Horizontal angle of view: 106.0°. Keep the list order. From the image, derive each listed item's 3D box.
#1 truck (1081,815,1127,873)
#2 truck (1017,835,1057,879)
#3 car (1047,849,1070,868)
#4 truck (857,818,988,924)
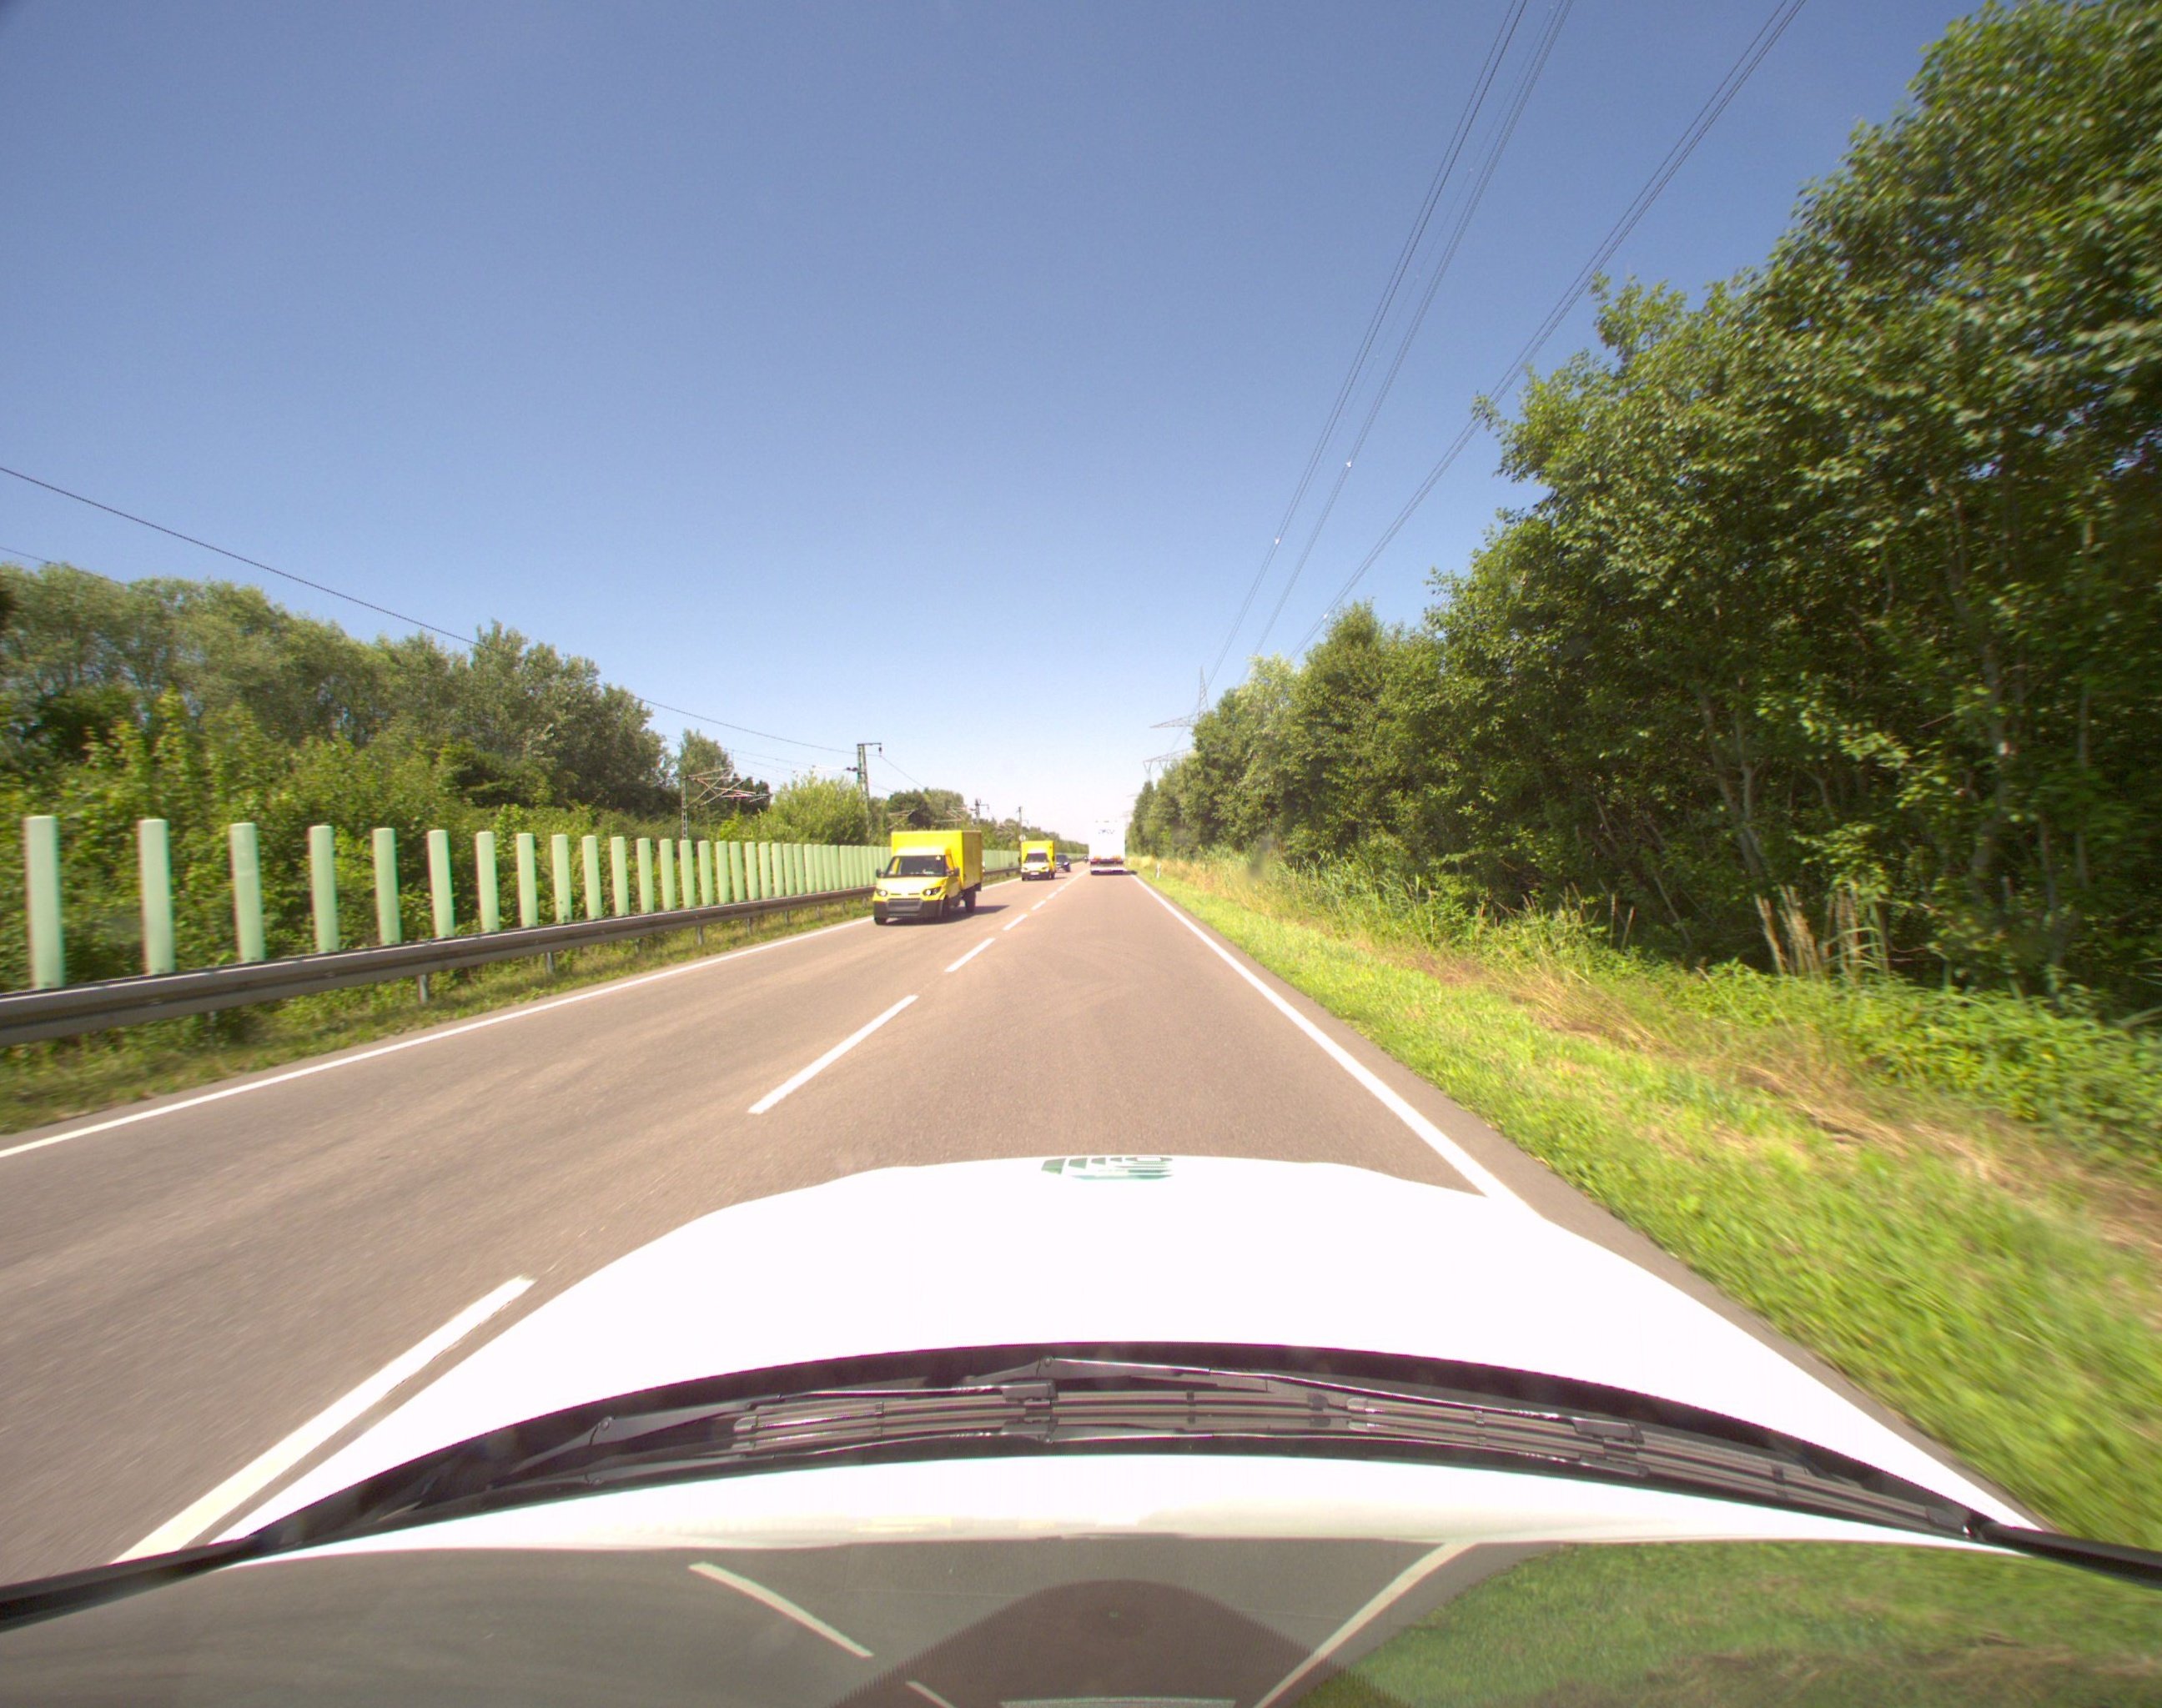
[{"bbox_3d":[1.823,-0.687,64.229,3.180,4.042,12.010,-2,0,1],"label":"truck"},{"bbox_3d":[-2.750,0.202,52.387,2.072,2.646,5.706,-1,0,1],"label":"truck"},{"bbox_3d":[-2.021,0.398,74.943,1.807,1.694,4.708,-1,0,2],"label":"car"},{"bbox_3d":[-3.923,0.374,21.362,1.986,2.348,6.015,-1,0,2],"label":"truck"}]
